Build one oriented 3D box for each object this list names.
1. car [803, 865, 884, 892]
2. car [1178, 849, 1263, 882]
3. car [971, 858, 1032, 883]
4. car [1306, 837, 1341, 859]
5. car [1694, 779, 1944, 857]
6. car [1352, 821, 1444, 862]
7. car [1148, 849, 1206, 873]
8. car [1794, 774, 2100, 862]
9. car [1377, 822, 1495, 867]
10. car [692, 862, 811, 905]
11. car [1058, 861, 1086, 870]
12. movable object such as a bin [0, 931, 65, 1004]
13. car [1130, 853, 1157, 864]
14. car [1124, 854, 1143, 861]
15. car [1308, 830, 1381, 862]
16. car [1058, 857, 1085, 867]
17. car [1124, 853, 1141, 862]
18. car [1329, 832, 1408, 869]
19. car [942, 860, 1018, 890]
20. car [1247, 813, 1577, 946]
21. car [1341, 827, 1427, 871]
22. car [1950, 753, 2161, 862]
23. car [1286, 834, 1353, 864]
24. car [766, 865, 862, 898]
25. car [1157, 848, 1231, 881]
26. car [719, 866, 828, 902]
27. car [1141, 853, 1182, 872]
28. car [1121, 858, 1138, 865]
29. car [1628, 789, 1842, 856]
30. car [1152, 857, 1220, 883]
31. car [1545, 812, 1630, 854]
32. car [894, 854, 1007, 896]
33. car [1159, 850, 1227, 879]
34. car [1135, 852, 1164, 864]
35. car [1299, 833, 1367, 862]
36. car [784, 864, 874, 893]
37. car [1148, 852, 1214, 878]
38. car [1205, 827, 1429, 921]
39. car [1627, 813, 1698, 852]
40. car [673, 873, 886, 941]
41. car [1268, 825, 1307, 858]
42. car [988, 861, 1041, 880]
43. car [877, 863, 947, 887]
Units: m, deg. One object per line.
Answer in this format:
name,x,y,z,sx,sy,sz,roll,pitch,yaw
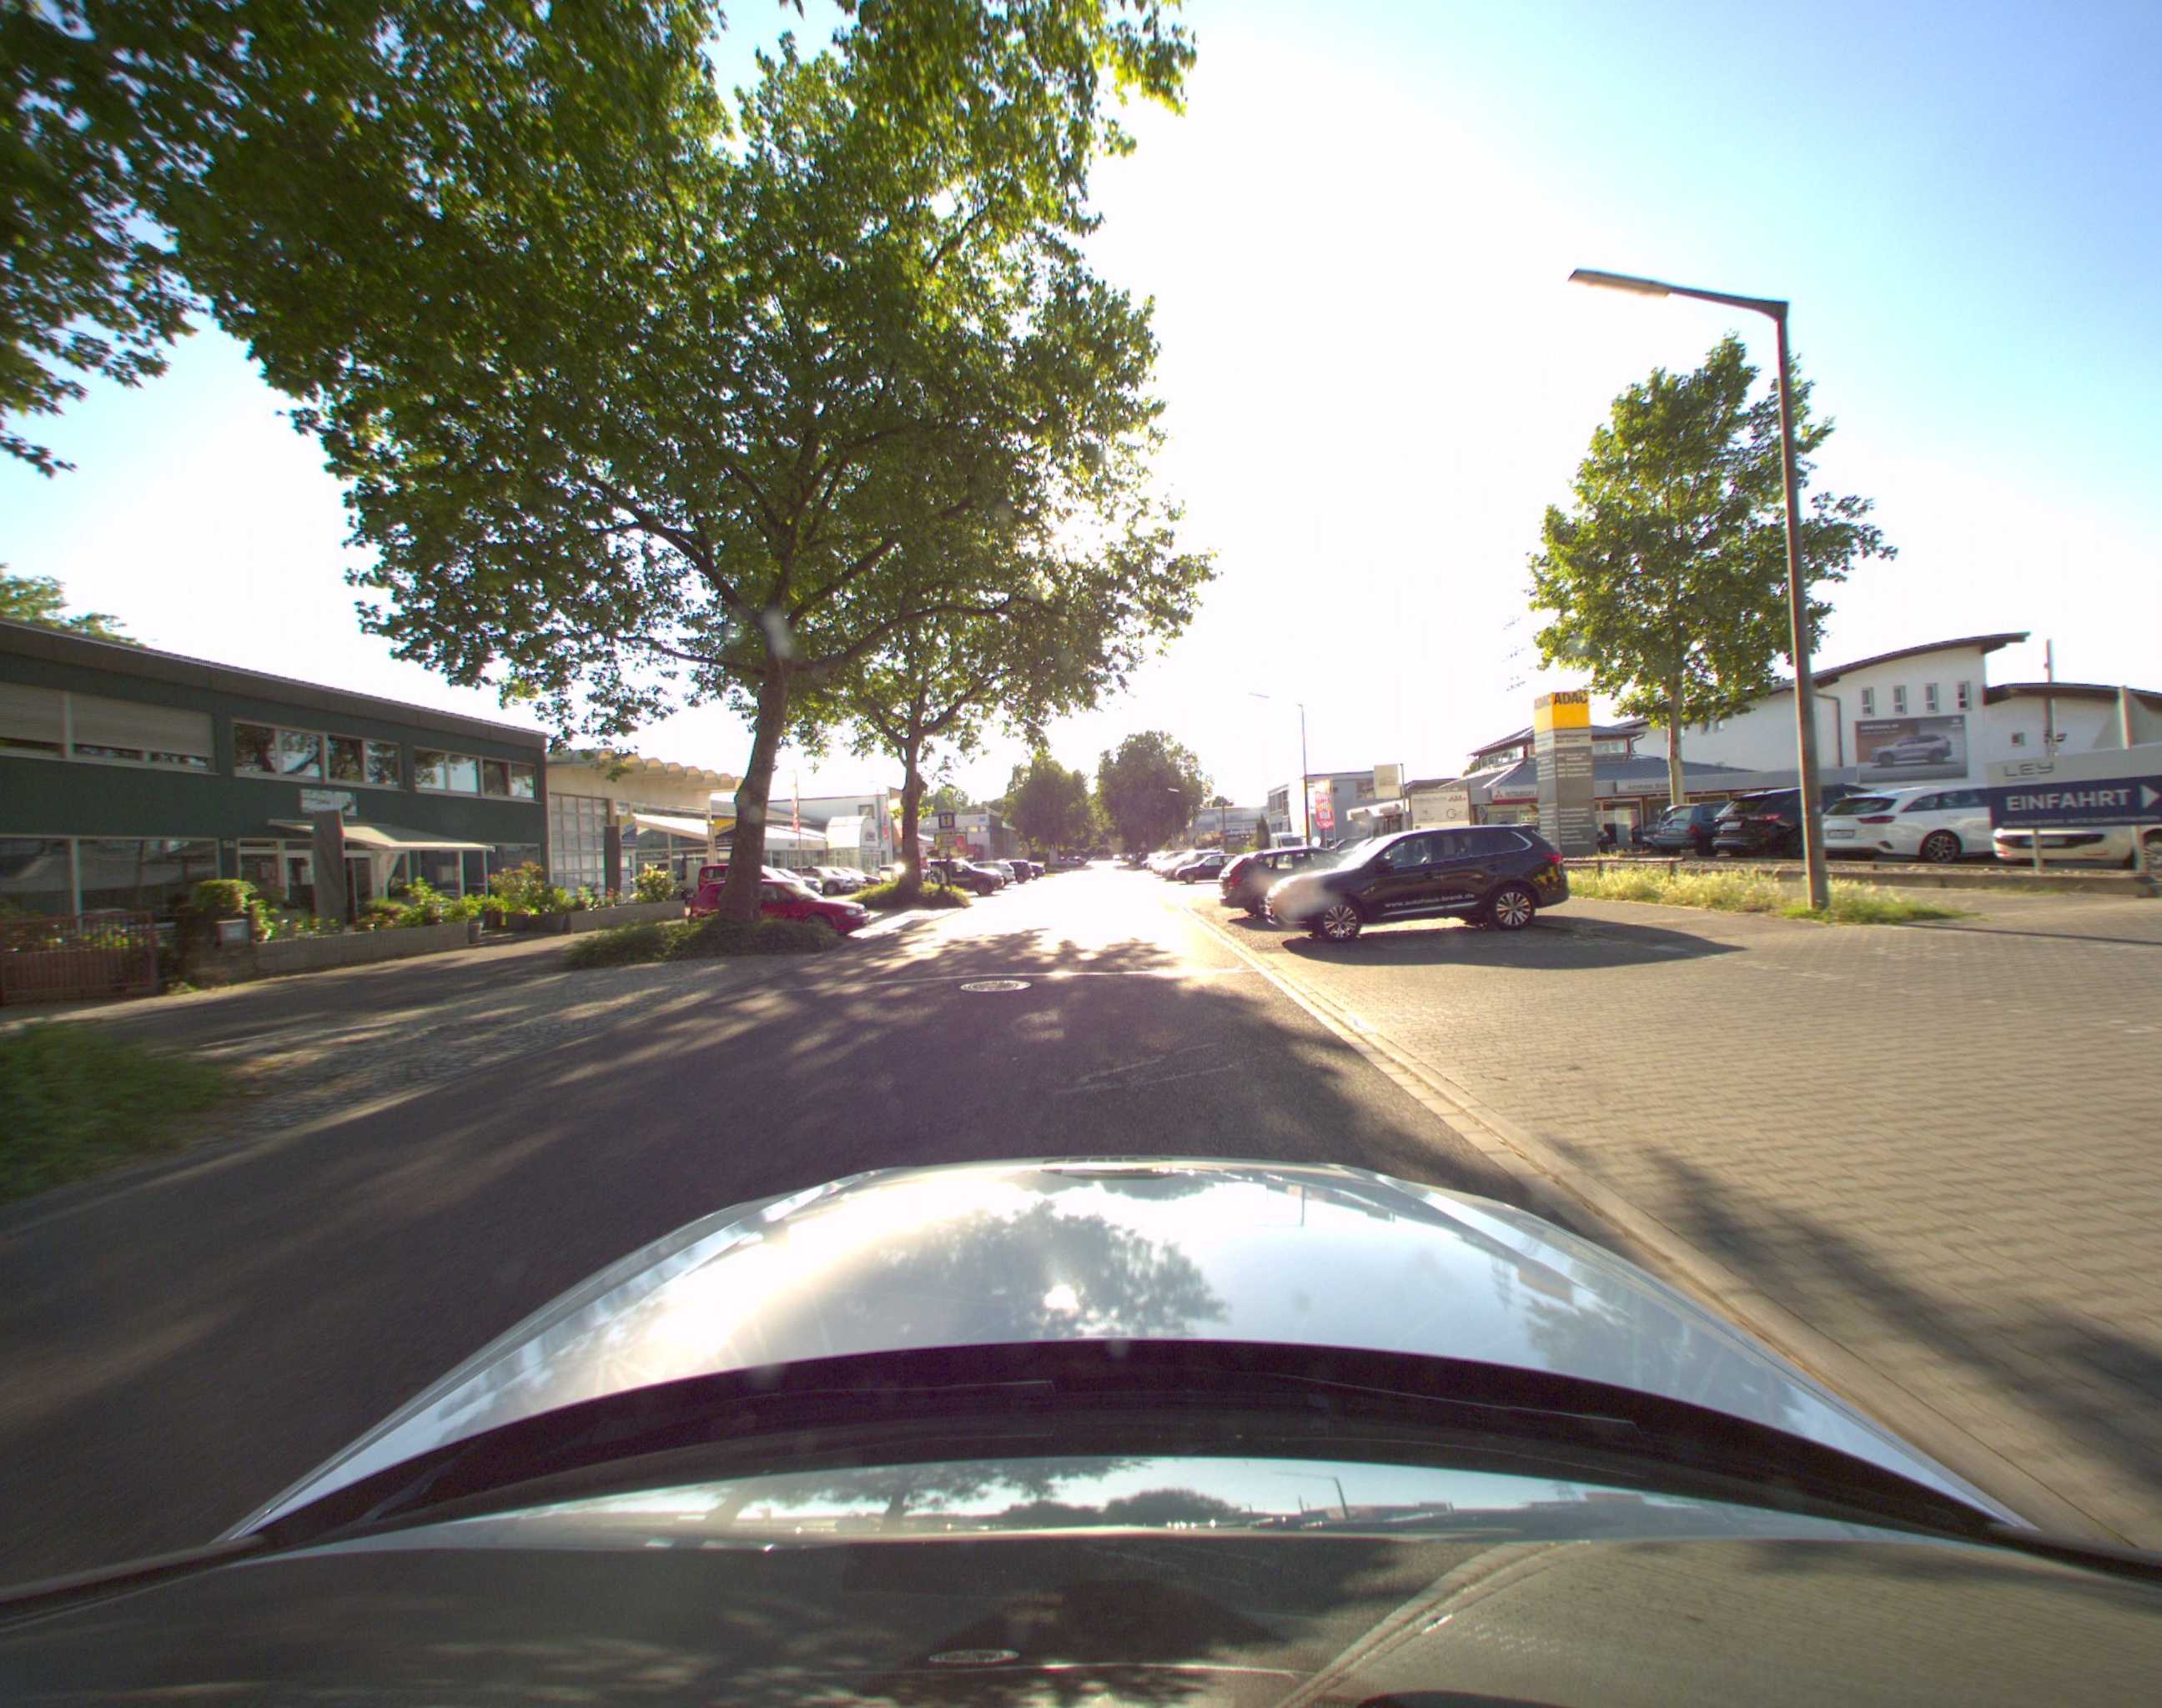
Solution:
car,-14.757,1.511,50.841,4.448,1.553,1.836,-2,-1,0
car,6.861,0.576,40.475,3.968,1.296,1.786,-4,-1,5
car,-5.835,1.207,60.268,4.218,1.655,2.201,-2,-1,-1
car,20.931,-0.479,70.507,1.986,1.799,4.002,-2,-1,2
car,16.783,-0.778,18.675,3.977,1.595,1.998,-2,-1,-2
car,16.322,-0.689,42.068,3.918,1.898,2.203,-2,2,1
car,8.097,0.611,69.201,4.541,1.597,2.201,-6,-1,-1
car,16.739,-0.660,15.899,3.977,1.519,1.952,-2,-1,-2
car,16.334,-0.424,37.648,4.478,1.898,2.203,-2,-1,1
car,-15.430,1.344,38.281,4.729,1.819,2.000,-2,-1,0
car,-1.521,1.809,130.087,4.405,1.403,1.998,-2,-1,-3
movable object such as a bin,-17.391,1.846,13.298,0.787,1.099,0.636,-2,-1,1
car,9.593,0.693,124.682,3.972,1.415,1.828,-3,-1,2
car,11.598,0.793,180.155,3.972,1.415,1.828,-3,-1,2
car,16.827,-0.498,52.195,3.971,1.697,2.001,-5,-1,2
car,-1.660,1.367,142.902,4.396,1.517,2.002,-2,-1,3
car,12.393,0.872,195.026,3.972,1.777,1.828,-3,-1,2
car,16.612,-0.166,47.190,3.887,1.899,1.787,-3,-3,2
car,-6.115,1.260,49.520,4.290,1.656,2.201,-2,-1,-1
car,5.247,0.410,13.495,4.580,1.579,2.002,-6,-1,4
car,16.498,-0.280,44.510,3.785,1.898,2.203,-6,0,2
car,16.244,-0.688,12.389,3.977,1.497,1.998,-2,-1,-2
car,17.021,-0.353,58.346,4.128,1.771,2.001,-5,-1,2
car,-14.952,1.529,45.779,4.702,1.643,2.000,-2,-1,0
car,6.565,0.603,47.658,3.976,1.588,1.866,-4,-1,-2
car,-15.409,1.487,40.985,4.697,1.634,2.000,-2,-1,0
car,8.325,0.895,84.805,3.975,1.652,1.742,-6,-1,0
car,11.455,1.670,193.205,3.972,1.415,1.828,-3,-1,2
car,16.818,-0.778,21.100,3.977,1.519,1.998,-2,-1,-2
car,7.063,1.085,55.061,4.233,1.605,1.744,-2,-1,-4
car,22.927,-0.917,36.828,4.020,1.738,1.977,-1,-1,-39
car,-6.520,1.057,41.184,5.240,1.898,2.203,-2,-1,1
car,7.235,0.683,52.823,4.098,1.740,1.882,-2,-1,-2
car,9.879,0.548,117.324,3.972,1.415,2.001,-3,-1,2
car,17.093,-0.429,55.453,3.971,1.659,2.001,-5,-1,2
car,-14.842,1.433,48.160,4.645,1.592,1.928,-2,-1,0
car,7.063,0.756,57.907,4.421,1.436,2.136,-5,0,1
car,5.370,0.454,19.036,4.584,1.613,2.001,-6,-1,1
car,26.419,-0.960,36.954,3.596,1.633,1.717,-1,-1,-40
car,-7.103,1.227,19.516,4.280,1.446,2.001,-1,-1,1
car,17.938,-1.043,71.019,1.986,2.625,6.140,-2,-1,2
car,-5.570,1.357,68.610,4.300,1.460,2.201,-2,-1,-1
car,-12.995,1.636,62.969,4.928,1.689,1.999,-2,-1,-1
